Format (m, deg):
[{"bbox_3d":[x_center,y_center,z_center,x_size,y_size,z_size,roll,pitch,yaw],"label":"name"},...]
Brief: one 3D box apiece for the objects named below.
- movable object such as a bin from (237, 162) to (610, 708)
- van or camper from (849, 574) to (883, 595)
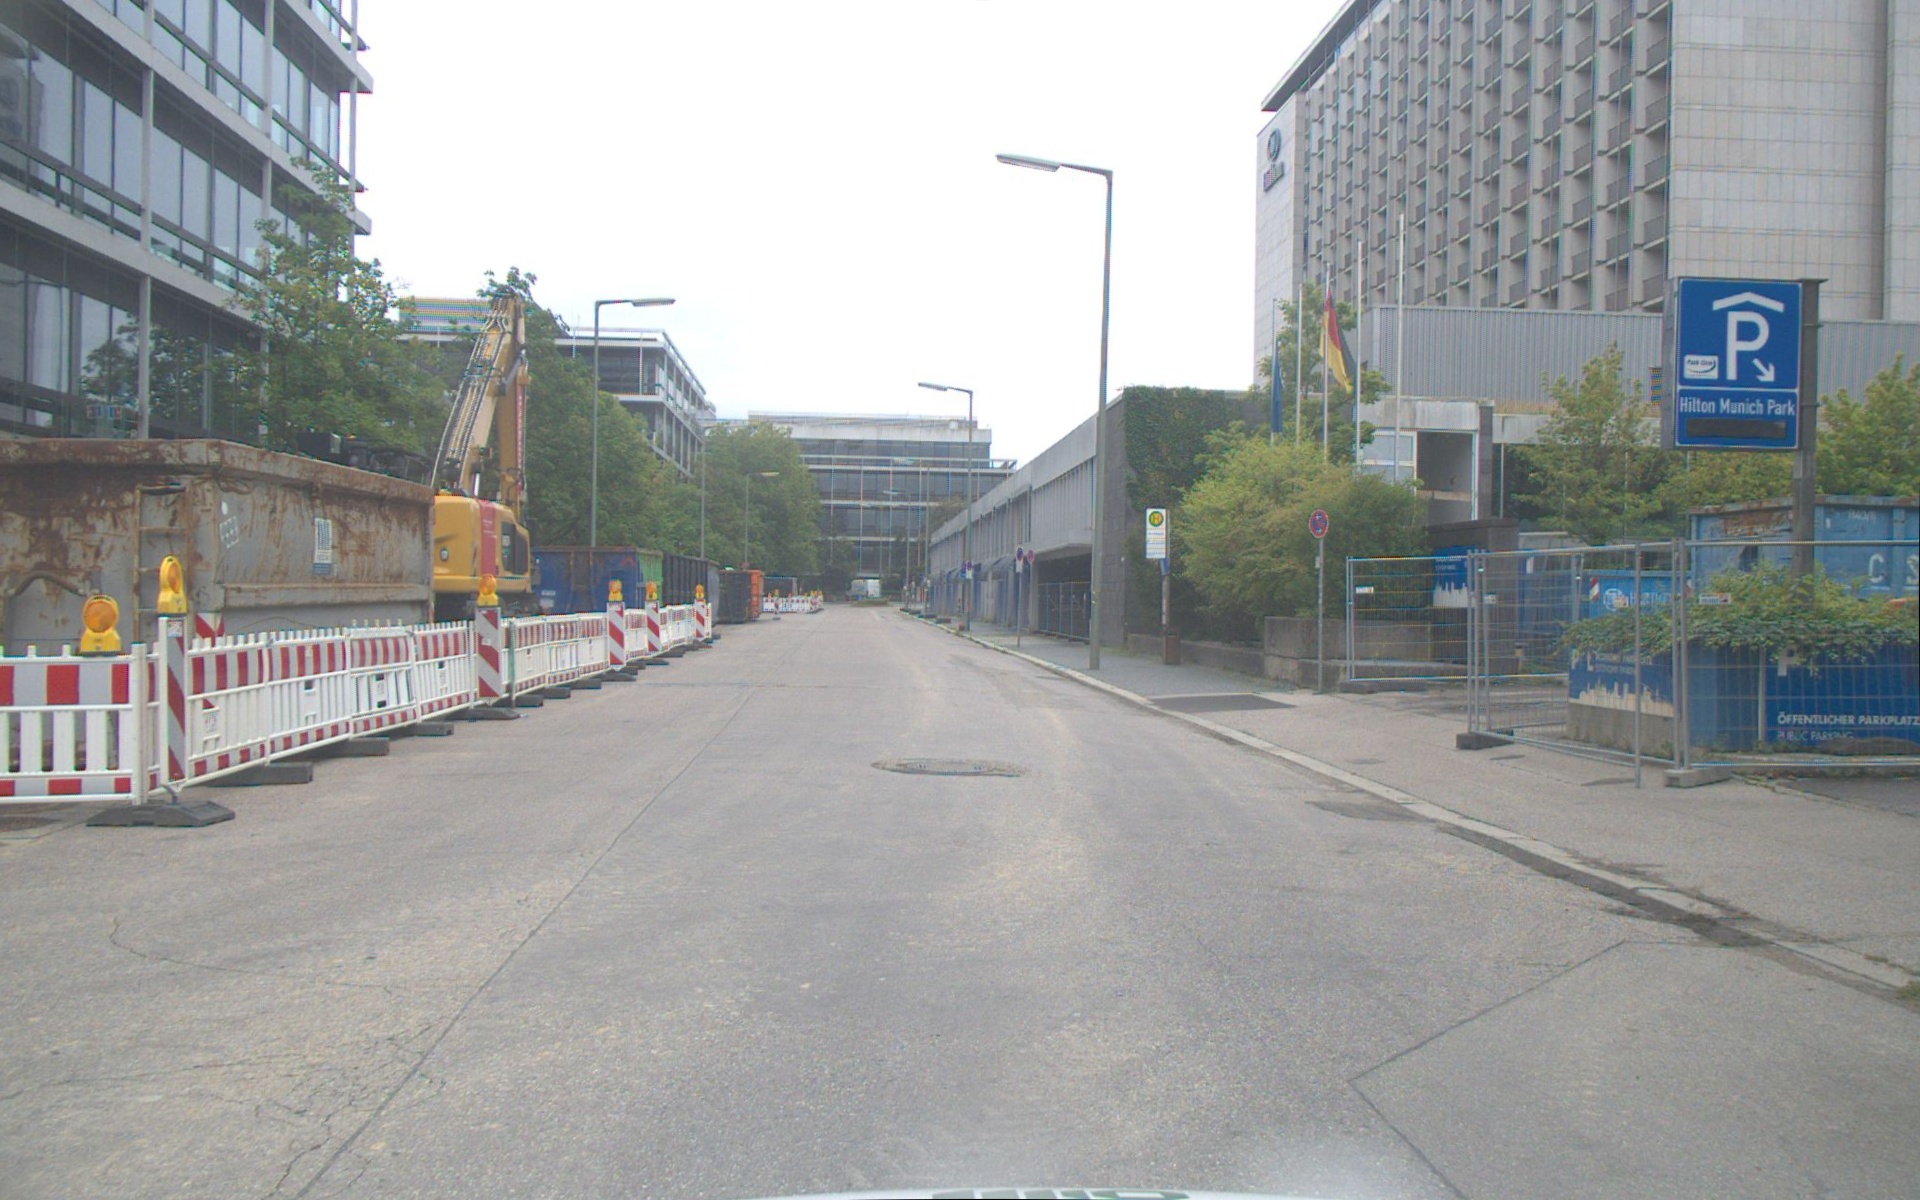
[{"bbox_3d":[-7.838,-2.004,26.271,2.847,6.679,11.773,1,0,-4],"label":"movable object such as a bin"},{"bbox_3d":[-11.312,-1.860,199.269,2.062,2.535,5.018,1,0,-29],"label":"van or camper"}]
